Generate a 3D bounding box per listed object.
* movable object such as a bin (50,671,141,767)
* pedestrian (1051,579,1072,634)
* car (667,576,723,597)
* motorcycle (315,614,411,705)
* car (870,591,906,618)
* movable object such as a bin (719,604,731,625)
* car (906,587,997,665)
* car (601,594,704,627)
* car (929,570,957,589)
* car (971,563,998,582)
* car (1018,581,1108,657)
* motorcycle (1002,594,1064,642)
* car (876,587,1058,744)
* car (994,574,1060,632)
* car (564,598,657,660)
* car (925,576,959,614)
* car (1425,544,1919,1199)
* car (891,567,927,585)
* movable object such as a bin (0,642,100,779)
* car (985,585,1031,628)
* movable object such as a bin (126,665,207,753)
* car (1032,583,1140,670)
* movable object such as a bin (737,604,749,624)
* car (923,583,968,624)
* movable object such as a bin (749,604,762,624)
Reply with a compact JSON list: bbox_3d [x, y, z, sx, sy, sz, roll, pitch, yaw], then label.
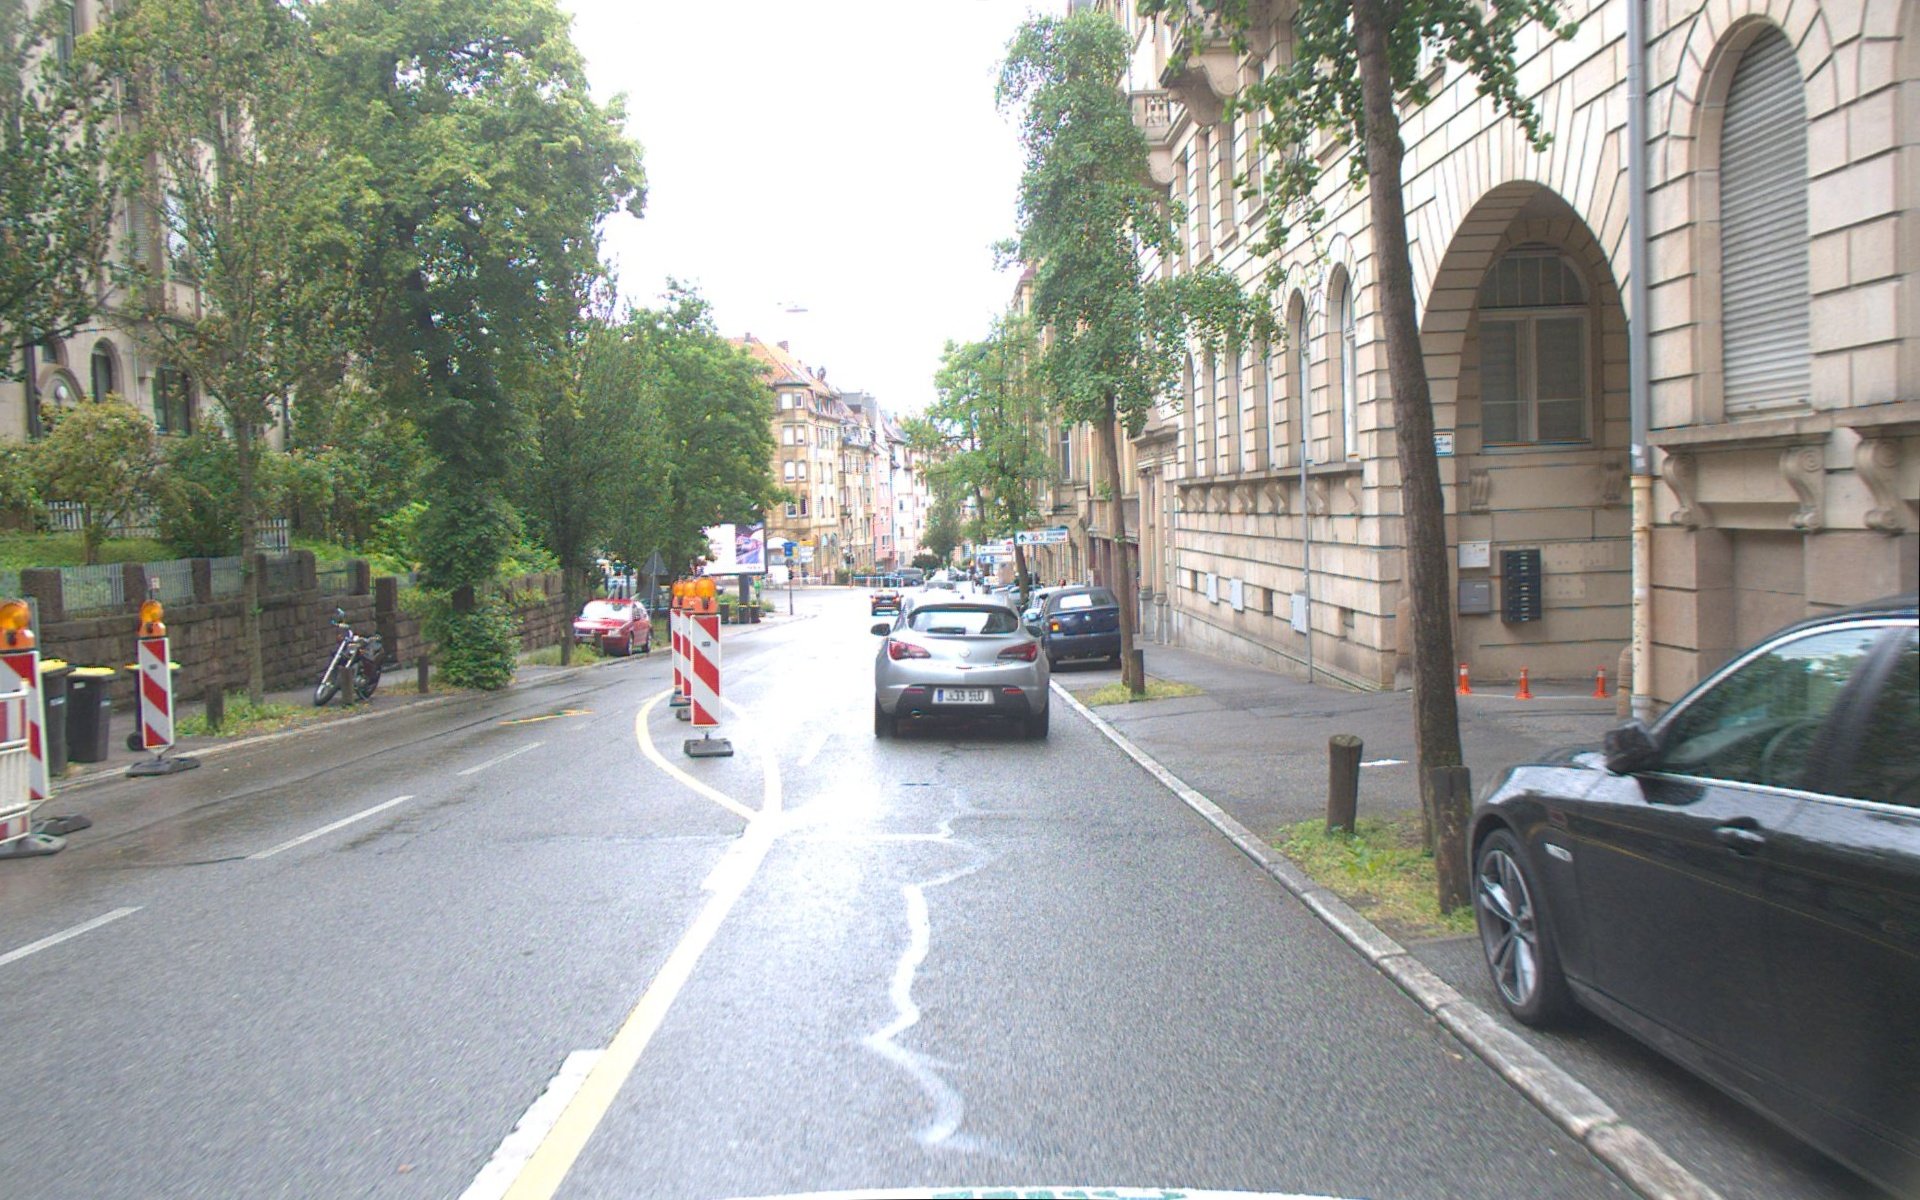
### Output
[{"bbox_3d":[-8.783,1.203,16.818,0.591,0.923,0.624,0,1,0],"label":"movable object such as a bin"},{"bbox_3d":[3.536,0.228,57.652,0.701,1.903,0.635,0,-1,-1],"label":"pedestrian"},{"bbox_3d":[-20.981,-1.090,131.235,4.142,1.612,1.939,0,1,-1],"label":"car"},{"bbox_3d":[-9.365,0.910,26.043,0.750,1.369,2.202,0,0,-1],"label":"motorcycle"},{"bbox_3d":[-4.201,0.240,97.087,1.953,1.527,3.999,-2,0,-1],"label":"car"},{"bbox_3d":[-12.398,0.751,87.222,0.613,1.077,0.633,1,0,-7],"label":"movable object such as a bin"},{"bbox_3d":[-0.236,0.518,35.469,1.737,1.530,3.866,0,1,-4],"label":"car"},{"bbox_3d":[-13.564,0.456,72.967,4.247,1.265,1.633,-3,1,-20],"label":"car"},{"bbox_3d":[-1.557,-1.901,154.757,1.951,1.713,4.003,1,0,9],"label":"car"},{"bbox_3d":[2.352,-2.644,157.871,1.951,1.713,4.003,1,0,9],"label":"car"},{"bbox_3d":[2.171,0.369,35.716,1.604,1.494,3.857,-2,1,-1],"label":"car"},{"bbox_3d":[1.969,0.466,44.117,0.645,1.257,1.973,0,-1,38],"label":"motorcycle"},{"bbox_3d":[0.006,0.626,18.120,1.775,1.475,3.868,0,1,-2],"label":"car"},{"bbox_3d":[2.011,0.066,50.547,1.605,1.630,3.855,-2,1,-3],"label":"car"},{"bbox_3d":[-9.330,0.734,44.410,1.604,1.464,4.079,-2,1,-1],"label":"car"},{"bbox_3d":[-0.880,-0.253,81.872,1.623,1.813,3.665,-1,0,-1],"label":"car"},{"bbox_3d":[2.771,0.630,4.003,1.722,1.486,4.722,-5,1,-2],"label":"car"},{"bbox_3d":[-5.509,-2.583,179.102,3.906,1.780,2.000,1,0,-1],"label":"car"},{"bbox_3d":[-8.931,1.043,15.850,0.925,1.235,0.856,0,1,0],"label":"movable object such as a bin"},{"bbox_3d":[1.885,0.240,65.308,1.604,1.551,3.857,-2,1,-1],"label":"car"},{"bbox_3d":[-8.736,1.191,18.231,0.591,0.923,0.624,0,1,0],"label":"movable object such as a bin"},{"bbox_3d":[2.282,0.450,30.604,1.604,1.454,3.376,-2,1,-2],"label":"car"},{"bbox_3d":[-11.442,0.735,87.110,0.613,1.077,0.719,1,0,-7],"label":"movable object such as a bin"},{"bbox_3d":[-0.630,0.150,69.771,1.624,1.569,3.663,-4,0,-3],"label":"car"},{"bbox_3d":[-10.901,0.748,88.279,0.646,1.077,0.626,1,0,-9],"label":"movable object such as a bin"}]
